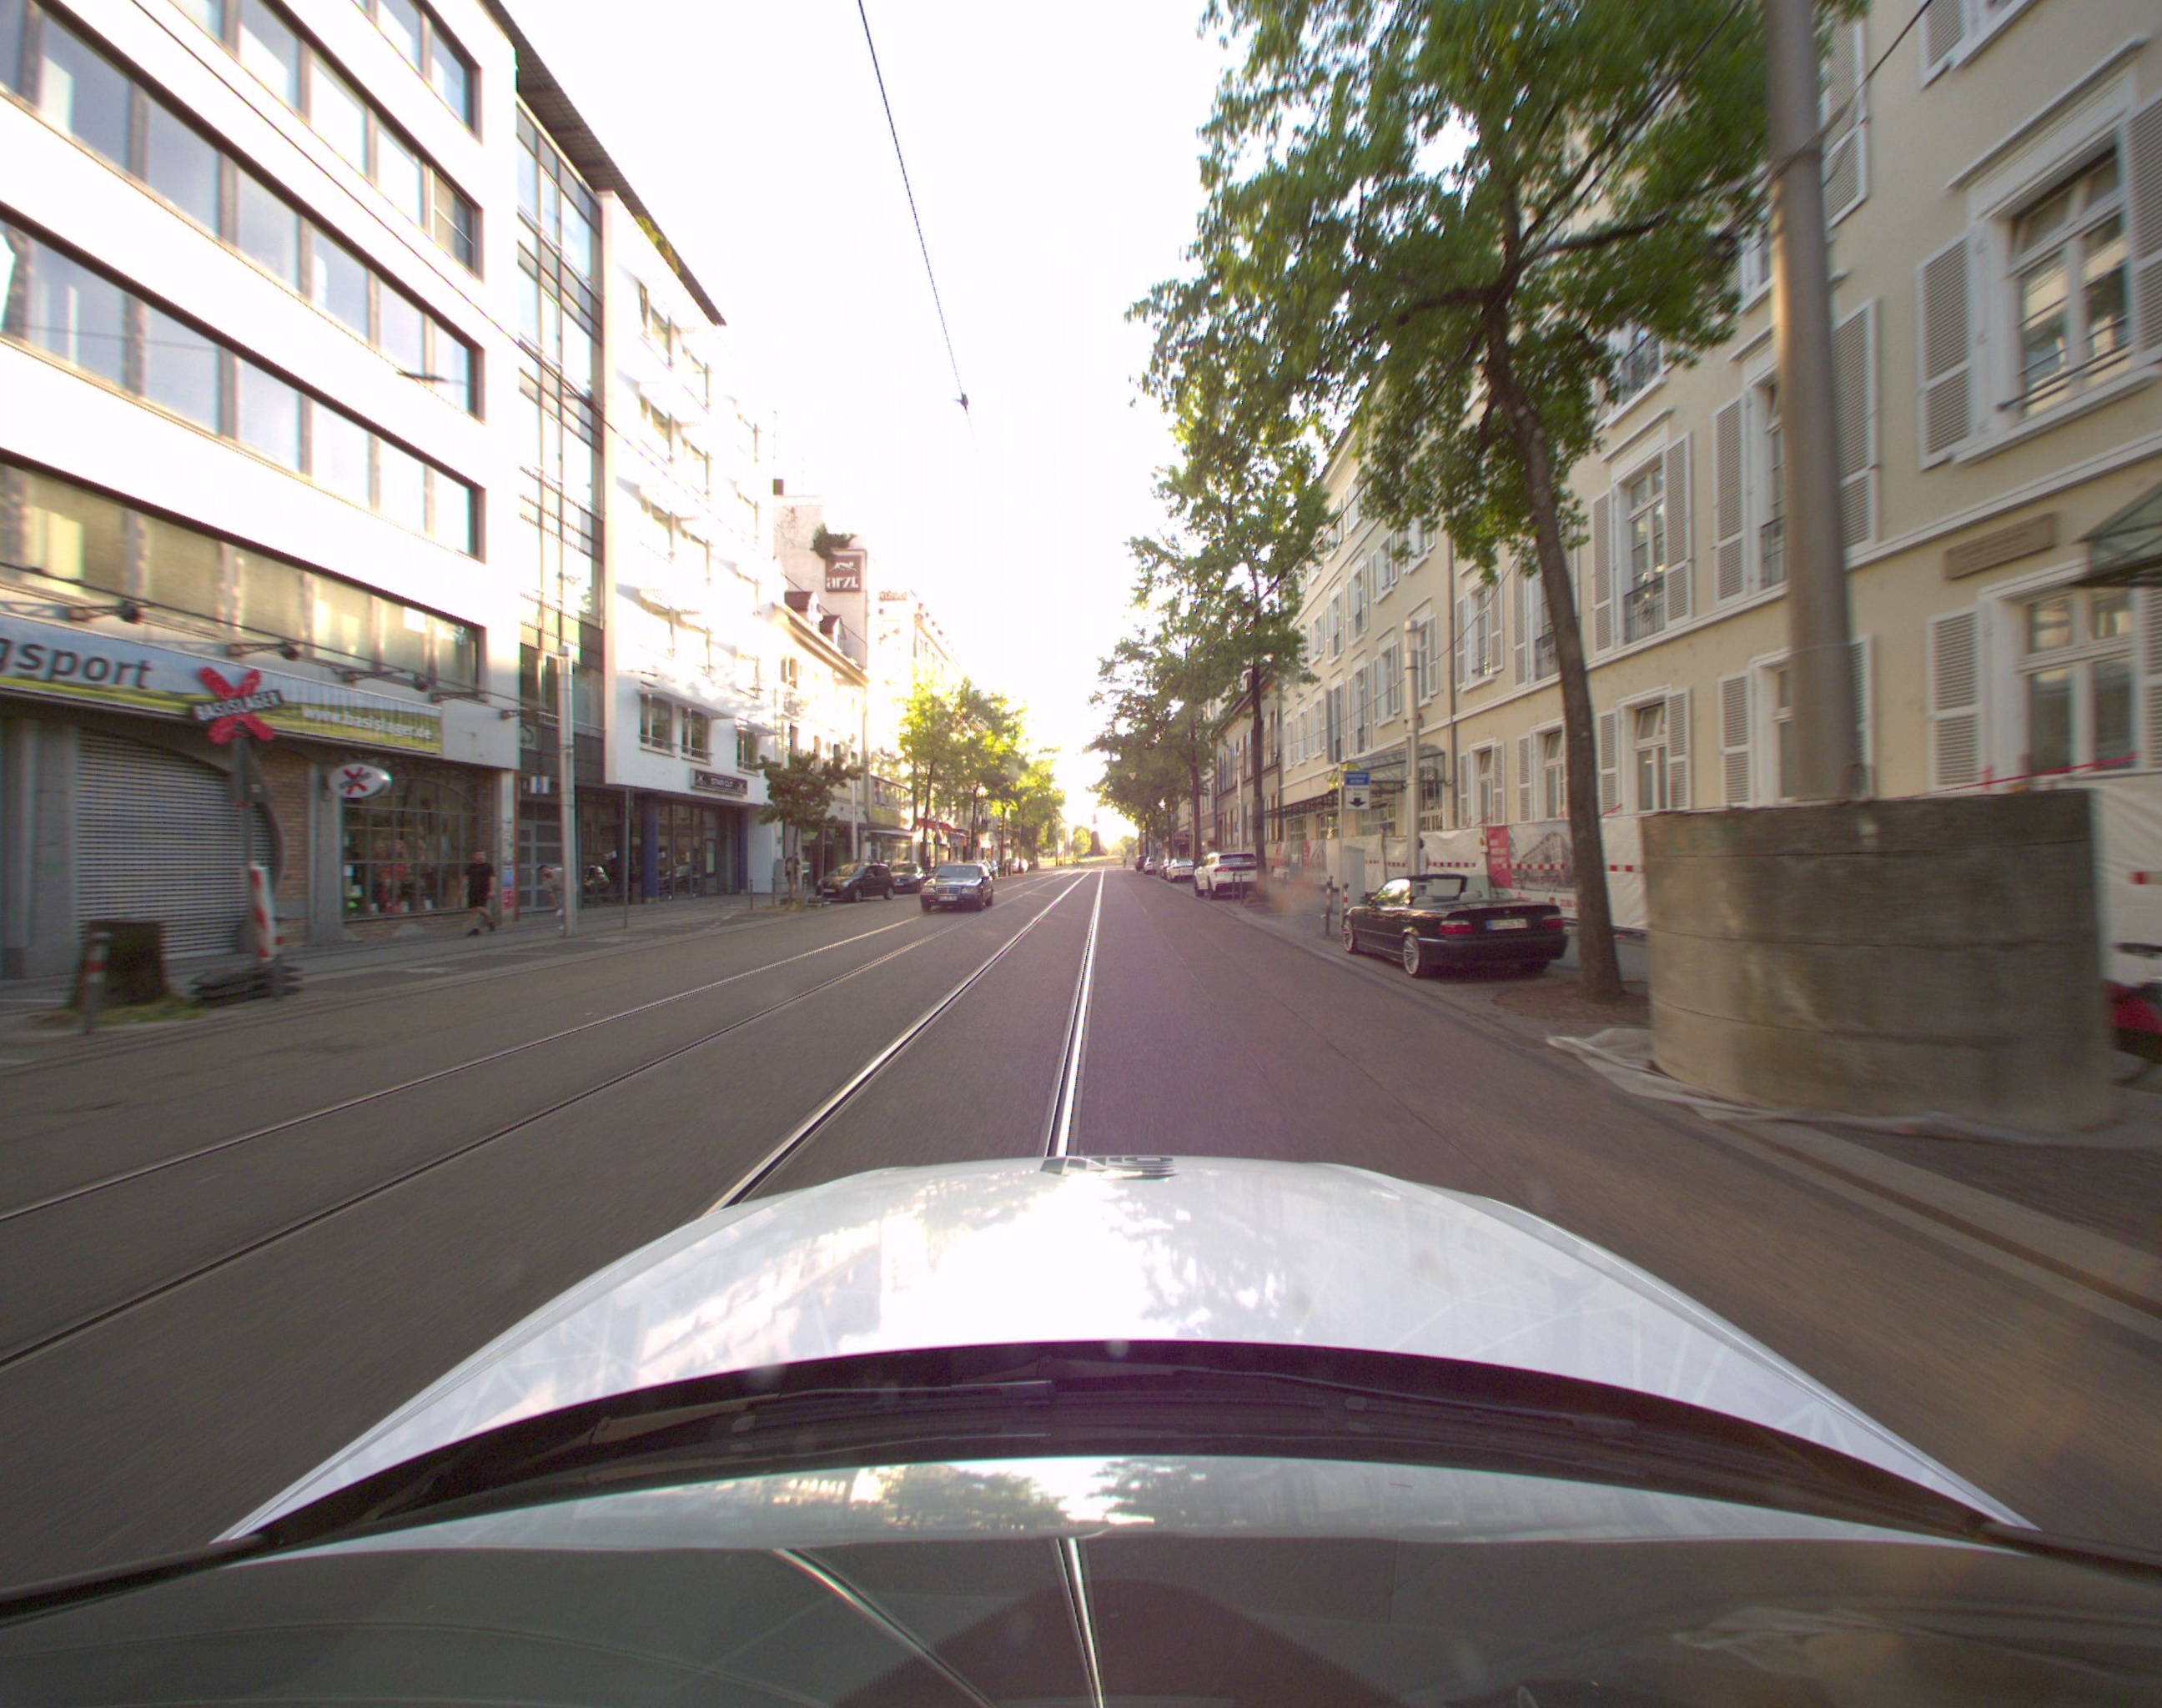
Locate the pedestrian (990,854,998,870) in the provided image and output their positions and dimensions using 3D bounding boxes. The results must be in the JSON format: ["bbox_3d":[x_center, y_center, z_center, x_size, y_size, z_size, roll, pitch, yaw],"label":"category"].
[{"bbox_3d":[-9.482,0.849,88.927,0.719,1.760,1.090,-1,0,2],"label":"pedestrian"}]

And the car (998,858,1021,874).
[{"bbox_3d":[-7.501,1.239,86.169,1.829,1.580,4.118,3,0,2],"label":"car"}]

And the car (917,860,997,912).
[{"bbox_3d":[-3.690,0.920,24.974,1.774,1.407,4.526,-1,0,-1],"label":"car"}]

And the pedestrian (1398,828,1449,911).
[{"bbox_3d":[8.105,0.366,19.298,0.710,1.886,1.053,-2,-1,1],"label":"pedestrian"}]

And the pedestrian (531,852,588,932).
[{"bbox_3d":[-11.449,0.818,17.898,0.638,1.713,0.830,1,0,5],"label":"pedestrian"}]

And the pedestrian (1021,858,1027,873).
[{"bbox_3d":[-5.908,1.176,84.019,0.519,1.569,0.634,-1,-2,2],"label":"pedestrian"}]

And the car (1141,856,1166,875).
[{"bbox_3d":[6.598,1.014,74.281,1.986,1.498,4.682,-4,0,2],"label":"car"}]

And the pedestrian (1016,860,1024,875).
[{"bbox_3d":[-6.232,1.369,83.185,0.617,1.509,0.730,-1,-2,2],"label":"pedestrian"}]

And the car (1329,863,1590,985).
[{"bbox_3d":[5.047,0.837,11.619,1.787,1.311,4.331,-3,0,2],"label":"car"}]

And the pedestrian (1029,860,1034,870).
[{"bbox_3d":[-6.662,1.441,109.409,0.726,1.290,0.856,0,0,-1],"label":"pedestrian"}]

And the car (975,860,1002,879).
[{"bbox_3d":[-7.569,1.236,66.928,1.660,1.428,3.828,2,0,1],"label":"car"}]

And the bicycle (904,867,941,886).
[{"bbox_3d":[-8.609,1.242,44.257,1.962,1.001,0.331,-1,-1,3],"label":"bicycle"}]

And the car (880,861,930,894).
[{"bbox_3d":[-8.462,1.097,39.414,1.788,1.490,4.235,1,0,-4],"label":"car"}]

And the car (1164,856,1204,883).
[{"bbox_3d":[6.084,0.904,48.544,1.905,1.420,4.890,-3,0,2],"label":"car"}]

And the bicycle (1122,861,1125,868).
[{"bbox_3d":[6.018,1.512,115.681,0.262,0.982,1.343,-1,0,13],"label":"bicycle"}]

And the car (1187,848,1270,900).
[{"bbox_3d":[5.371,0.714,30.309,1.992,1.688,4.964,-3,-1,-1],"label":"car"}]

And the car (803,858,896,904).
[{"bbox_3d":[-8.782,0.977,31.214,1.618,1.616,3.724,1,0,16],"label":"car"}]

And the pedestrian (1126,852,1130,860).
[{"bbox_3d":[8.978,0.407,154.371,0.634,1.606,0.771,-1,0,-1],"label":"pedestrian"}]

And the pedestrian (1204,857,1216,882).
[{"bbox_3d":[8.279,0.983,52.344,0.646,1.573,0.799,-1,-1,1],"label":"pedestrian"}]

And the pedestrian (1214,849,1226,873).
[{"bbox_3d":[9.865,0.503,57.803,0.655,1.665,0.888,-3,-1,1],"label":"pedestrian"}]

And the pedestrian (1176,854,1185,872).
[{"bbox_3d":[9.336,0.851,76.435,0.641,1.670,0.786,-4,0,1],"label":"pedestrian"}]

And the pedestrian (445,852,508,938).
[{"bbox_3d":[-12.374,0.816,16.696,0.624,1.713,0.809,1,0,5],"label":"pedestrian"}]

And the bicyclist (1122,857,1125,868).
[{"bbox_3d":[6.034,1.217,115.684,0.425,1.481,0.467,-1,0,10],"label":"bicyclist"}]

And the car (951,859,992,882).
[{"bbox_3d":[-7.470,1.102,55.836,1.758,1.497,4.182,0,-1,6],"label":"car"}]

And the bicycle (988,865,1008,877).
[{"bbox_3d":[-7.216,1.465,70.728,1.607,0.965,0.433,1,0,6],"label":"bicycle"}]

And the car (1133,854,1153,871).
[{"bbox_3d":[6.982,0.906,92.157,1.931,1.759,4.681,-4,0,1],"label":"car"}]

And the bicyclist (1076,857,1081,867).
[{"bbox_3d":[-0.370,1.175,123.356,0.532,1.438,0.368,-1,-1,15],"label":"bicyclist"}]

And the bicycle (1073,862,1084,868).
[{"bbox_3d":[-0.382,1.608,123.343,1.718,0.864,0.368,-1,-1,15],"label":"bicycle"}]

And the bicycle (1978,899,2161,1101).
[{"bbox_3d":[6.460,0.855,4.645,0.655,1.071,1.664,-3,0,-18],"label":"bicycle"}]

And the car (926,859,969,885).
[{"bbox_3d":[-7.995,1.057,49.183,1.705,1.461,4.488,1,0,2],"label":"car"}]

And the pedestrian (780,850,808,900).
[{"bbox_3d":[-10.764,0.782,30.530,0.657,1.825,0.879,2,0,2],"label":"pedestrian"}]

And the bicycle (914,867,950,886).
[{"bbox_3d":[-8.378,1.262,45.947,1.962,1.001,0.331,-1,-1,3],"label":"bicycle"}]

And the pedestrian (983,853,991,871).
[{"bbox_3d":[-10.260,0.861,88.946,0.719,2.014,0.643,-1,0,1],"label":"pedestrian"}]

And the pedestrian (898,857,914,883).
[{"bbox_3d":[-11.462,1.053,53.395,0.786,1.693,0.914,-1,0,1],"label":"pedestrian"}]

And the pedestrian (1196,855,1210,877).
[{"bbox_3d":[10.042,1.006,67.088,0.855,1.753,0.933,-4,0,1],"label":"pedestrian"}]

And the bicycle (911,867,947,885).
[{"bbox_3d":[-8.666,1.267,46.339,1.962,1.001,0.331,-1,-1,3],"label":"bicycle"}]

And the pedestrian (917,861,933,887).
[{"bbox_3d":[-10.288,1.328,53.708,0.841,1.693,0.740,-1,0,0],"label":"pedestrian"}]

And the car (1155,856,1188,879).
[{"bbox_3d":[6.434,0.930,58.398,1.826,1.478,4.762,-3,0,1],"label":"car"}]
